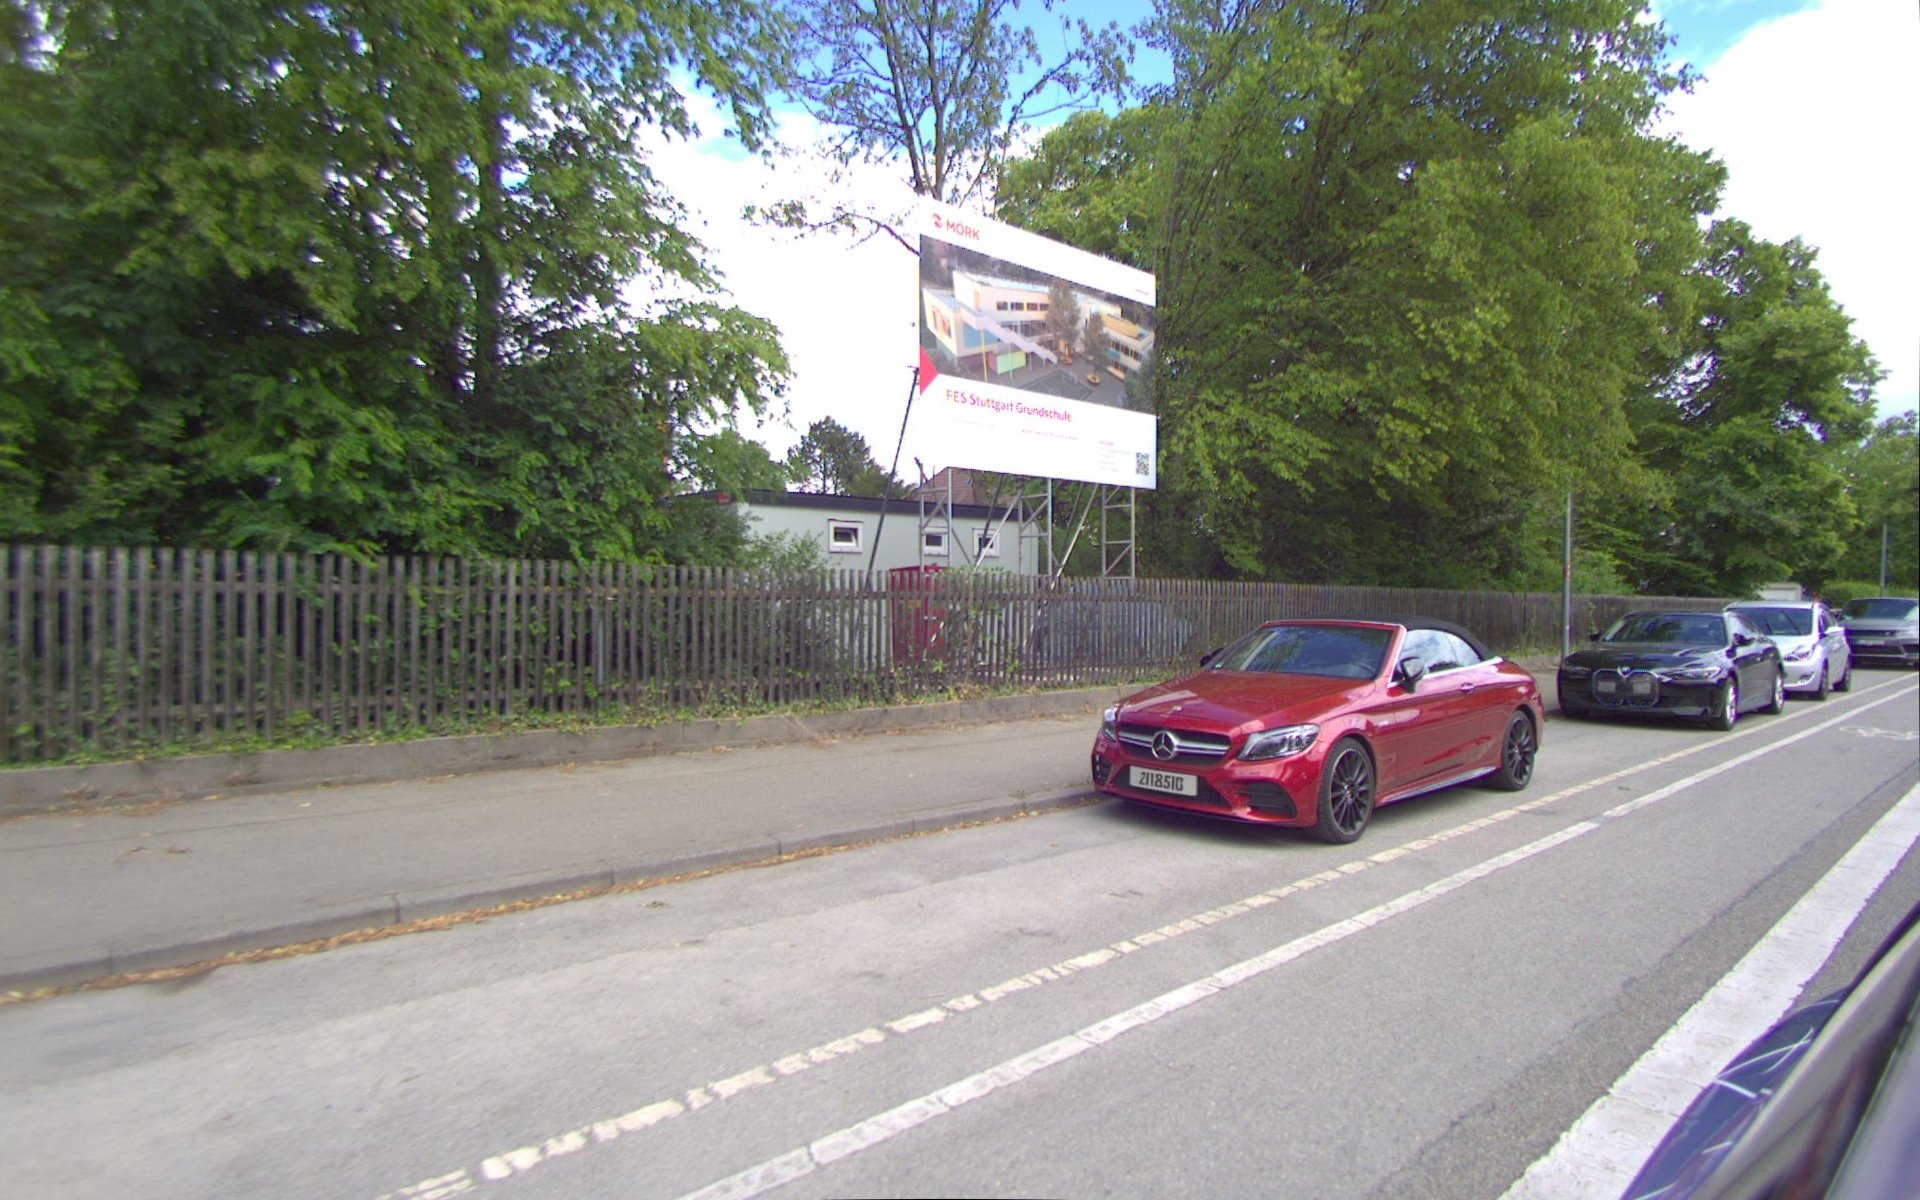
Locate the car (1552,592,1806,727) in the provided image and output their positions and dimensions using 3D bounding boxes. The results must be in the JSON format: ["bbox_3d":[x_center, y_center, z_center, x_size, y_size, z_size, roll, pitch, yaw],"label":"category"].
[{"bbox_3d":[9.917,0.672,13.809,4.599,1.534,1.819,-1,0,-41],"label":"car"}]

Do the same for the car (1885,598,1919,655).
[{"bbox_3d":[27.918,0.725,29.055,3.855,1.520,1.687,-1,0,-43],"label":"car"}]

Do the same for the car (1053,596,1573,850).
[{"bbox_3d":[2.915,0.731,7.863,4.364,1.432,1.862,1,-2,-40],"label":"car"}]

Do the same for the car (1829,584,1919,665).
[{"bbox_3d":[23.449,0.538,25.213,4.742,1.839,1.997,-1,0,-40],"label":"car"}]

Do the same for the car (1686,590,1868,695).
[{"bbox_3d":[14.331,0.637,17.670,4.346,1.609,1.865,0,0,-43],"label":"car"}]
